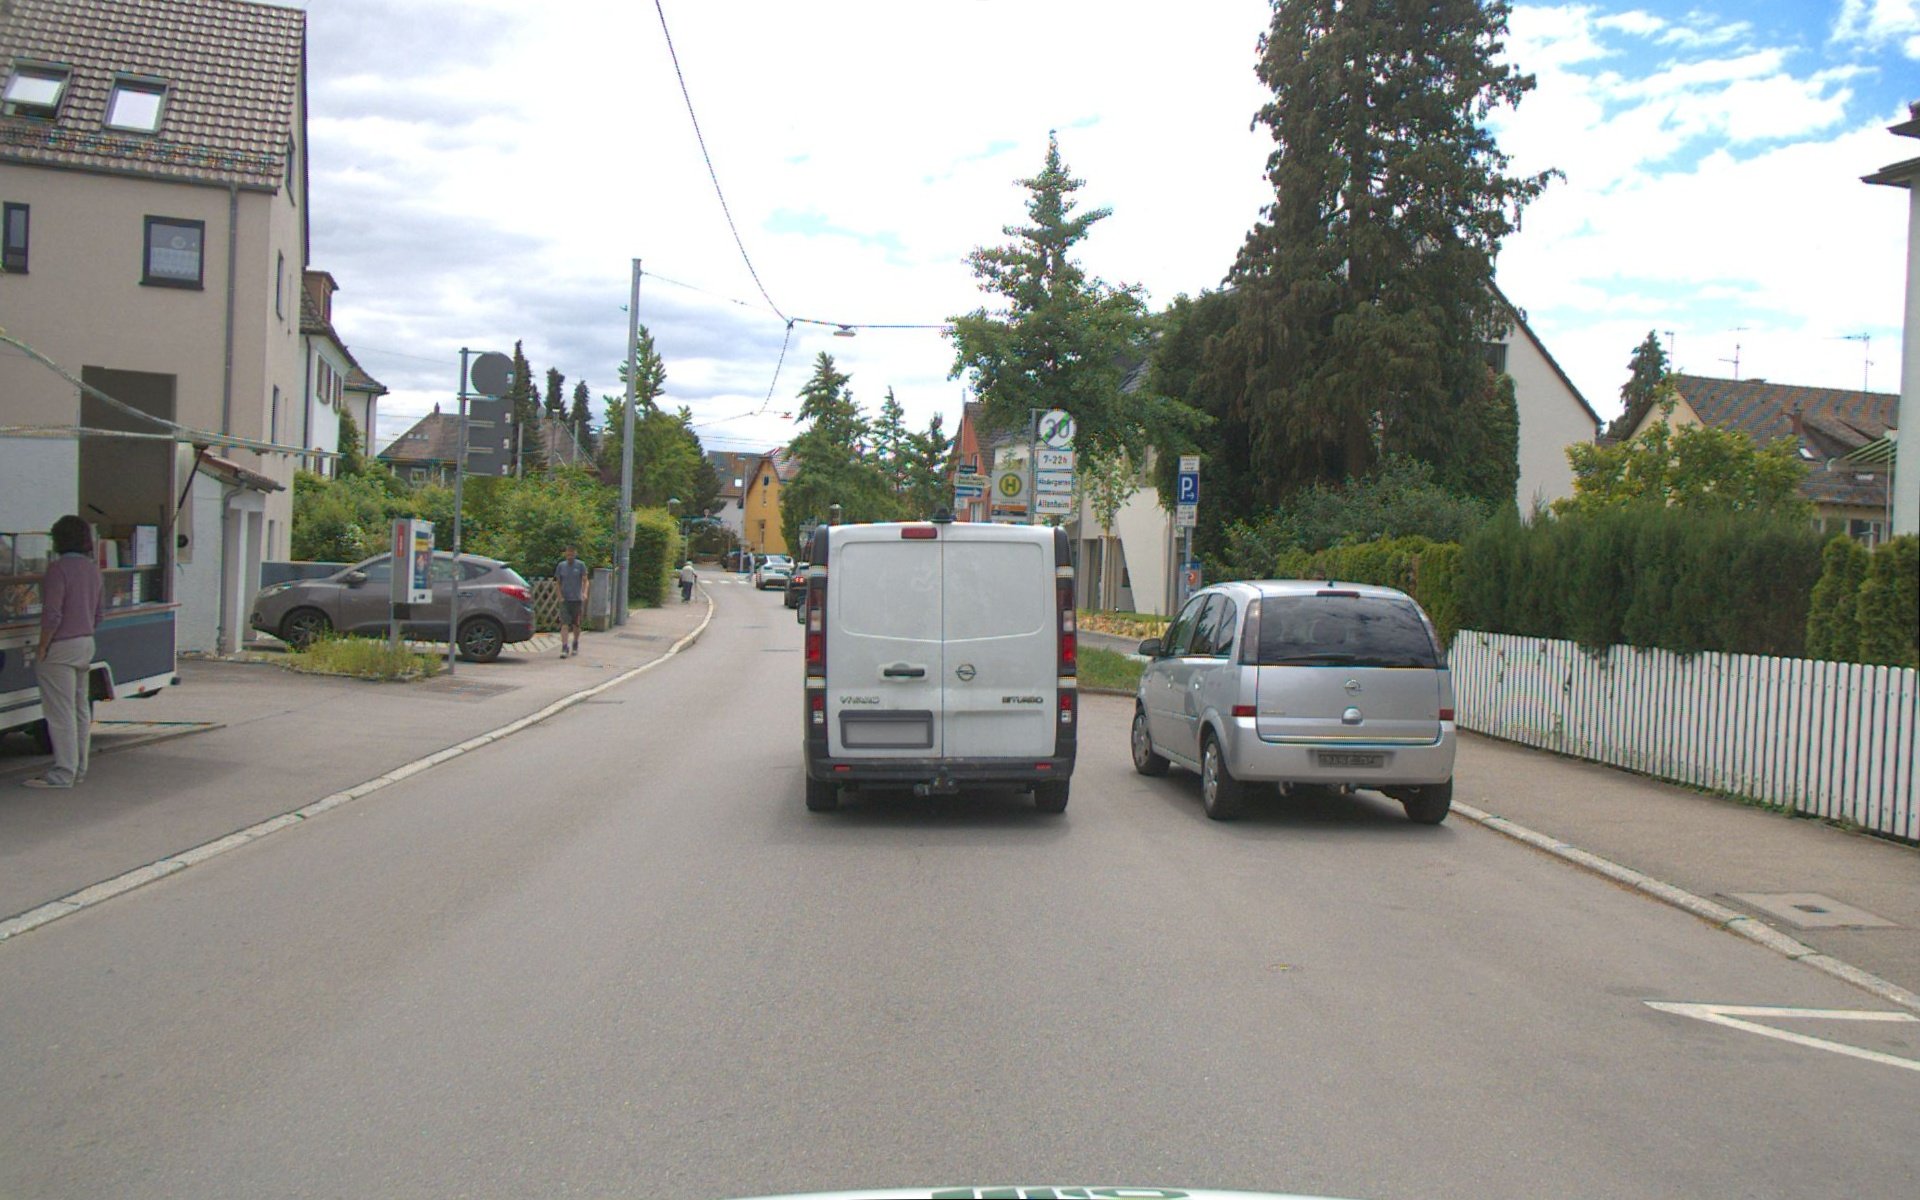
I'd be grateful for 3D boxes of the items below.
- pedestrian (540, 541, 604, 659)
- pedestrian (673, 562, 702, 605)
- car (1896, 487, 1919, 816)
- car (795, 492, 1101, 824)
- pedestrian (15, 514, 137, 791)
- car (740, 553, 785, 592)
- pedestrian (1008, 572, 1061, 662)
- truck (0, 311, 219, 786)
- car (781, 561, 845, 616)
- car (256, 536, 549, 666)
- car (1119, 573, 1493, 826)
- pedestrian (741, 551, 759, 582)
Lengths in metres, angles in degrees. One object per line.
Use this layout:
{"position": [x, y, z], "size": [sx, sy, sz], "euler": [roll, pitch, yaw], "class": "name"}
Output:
{"position": [-6.831, 0.000, 29.189], "size": [0.718, 1.979, 1.217], "euler": [4, 0, -1], "class": "pedestrian"}
{"position": [-10.017, -0.611, 60.739], "size": [0.866, 1.510, 0.451], "euler": [4, 0, -29], "class": "pedestrian"}
{"position": [9.695, 0.558, 11.646], "size": [2.454, 2.728, 5.170], "euler": [4, 0, -13], "class": "car"}
{"position": [-0.280, 0.358, 12.587], "size": [1.879, 2.037, 4.432], "euler": [2, 0, -6], "class": "car"}
{"position": [-5.729, 0.329, 10.742], "size": [0.393, 1.724, 0.596], "euler": [4, 0, -6], "class": "pedestrian"}
{"position": [-9.624, -1.349, 80.425], "size": [1.957, 1.813, 3.992], "euler": [1, 1, -9], "class": "car"}
{"position": [1.451, 0.331, 32.231], "size": [0.837, 1.673, 0.883], "euler": [4, 0, -4], "class": "pedestrian"}
{"position": [-7.076, -0.352, 10.281], "size": [2.425, 2.890, 6.699], "euler": [2, 0, -6], "class": "truck"}
{"position": [-5.286, -0.426, 59.083], "size": [1.957, 1.880, 3.992], "euler": [1, 1, -9], "class": "car"}
{"position": [-8.885, 0.020, 26.686], "size": [4.242, 1.725, 1.790], "euler": [4, 0, -16], "class": "car"}
{"position": [2.419, 0.626, 12.619], "size": [1.725, 1.610, 4.015], "euler": [1, 0, -5], "class": "car"}
{"position": [-11.588, -1.831, 91.383], "size": [0.791, 1.637, 0.625], "euler": [4, 0, -14], "class": "pedestrian"}
